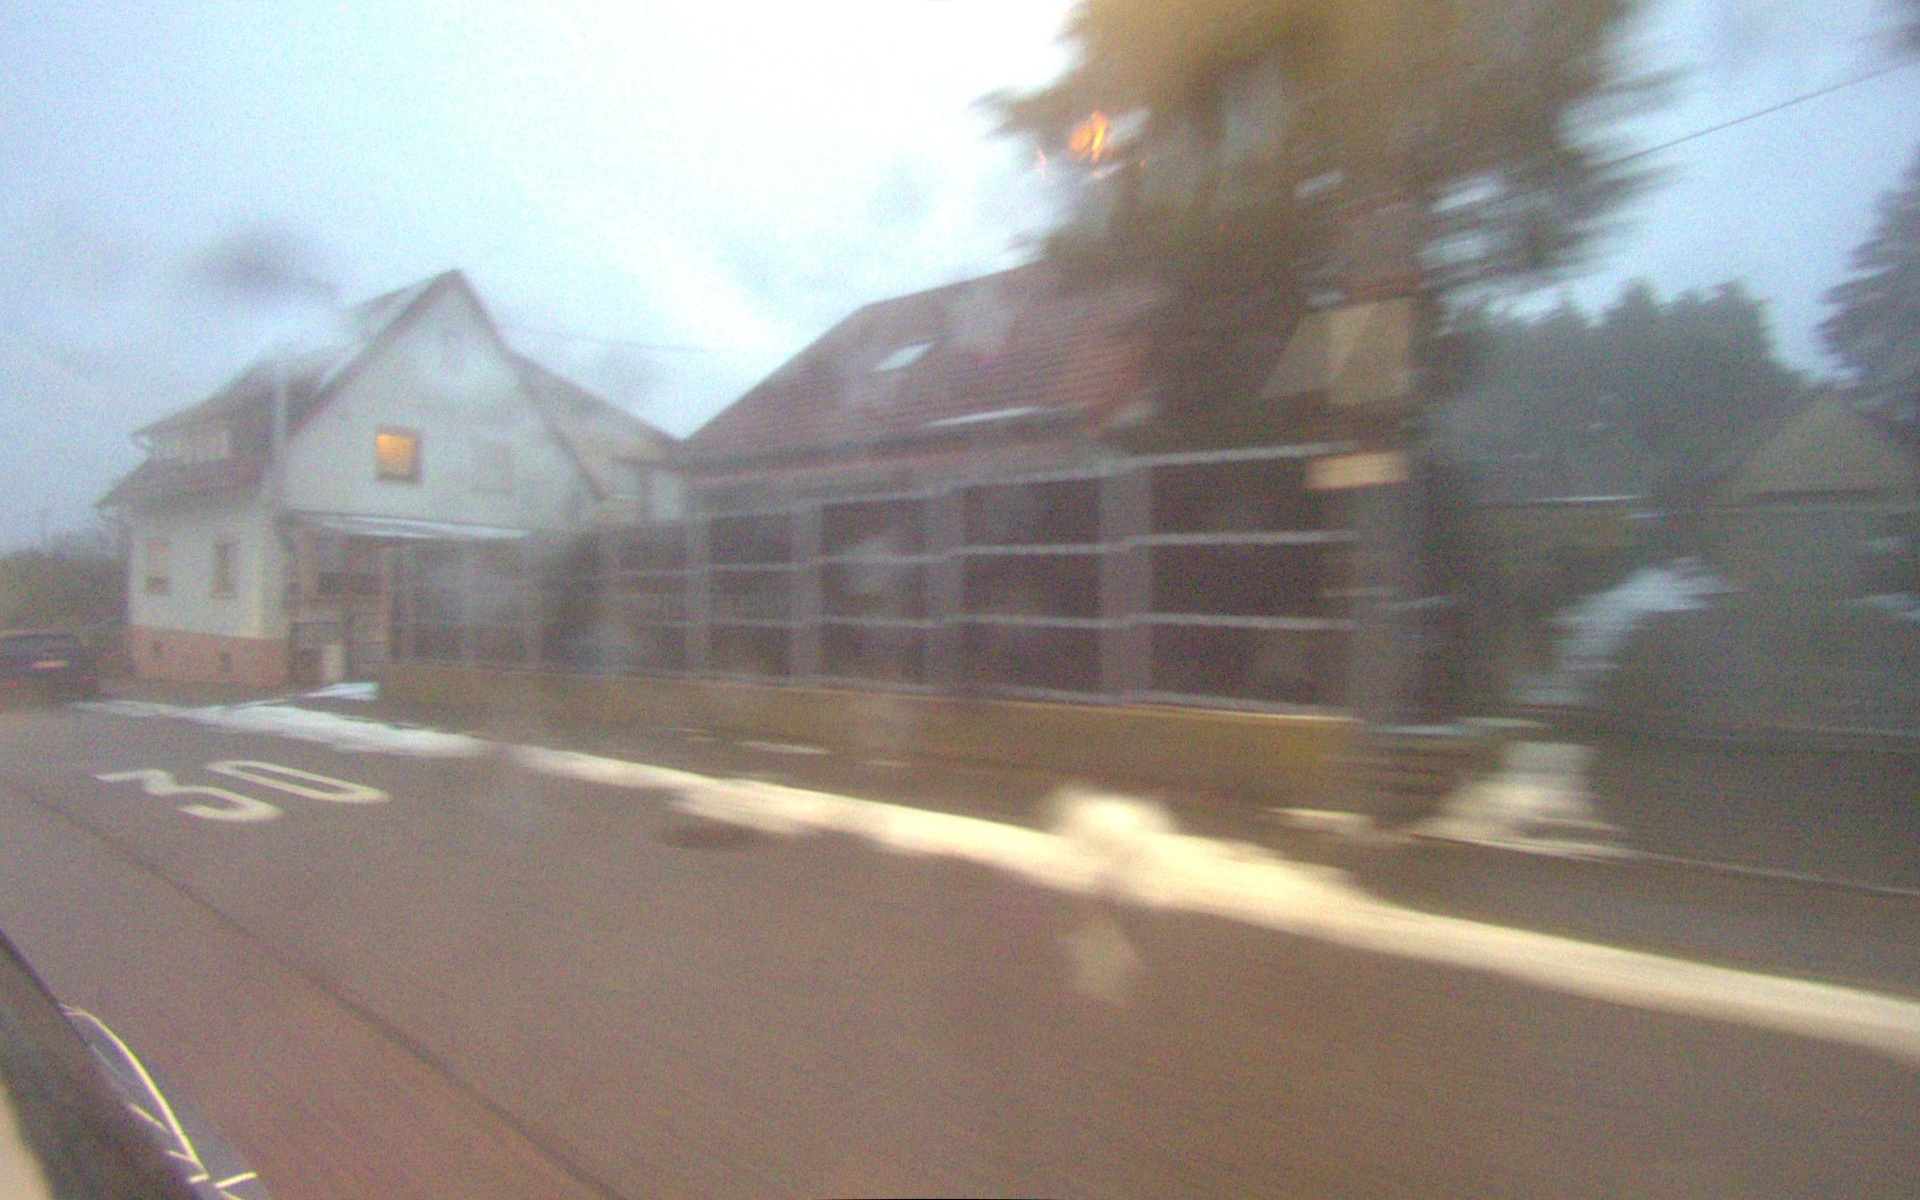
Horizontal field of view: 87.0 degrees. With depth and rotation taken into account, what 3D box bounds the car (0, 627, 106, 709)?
[{"bbox_3d":[-19.457,1.366,20.681,5.382,1.437,1.860,-3,0,37],"label":"car"}]
